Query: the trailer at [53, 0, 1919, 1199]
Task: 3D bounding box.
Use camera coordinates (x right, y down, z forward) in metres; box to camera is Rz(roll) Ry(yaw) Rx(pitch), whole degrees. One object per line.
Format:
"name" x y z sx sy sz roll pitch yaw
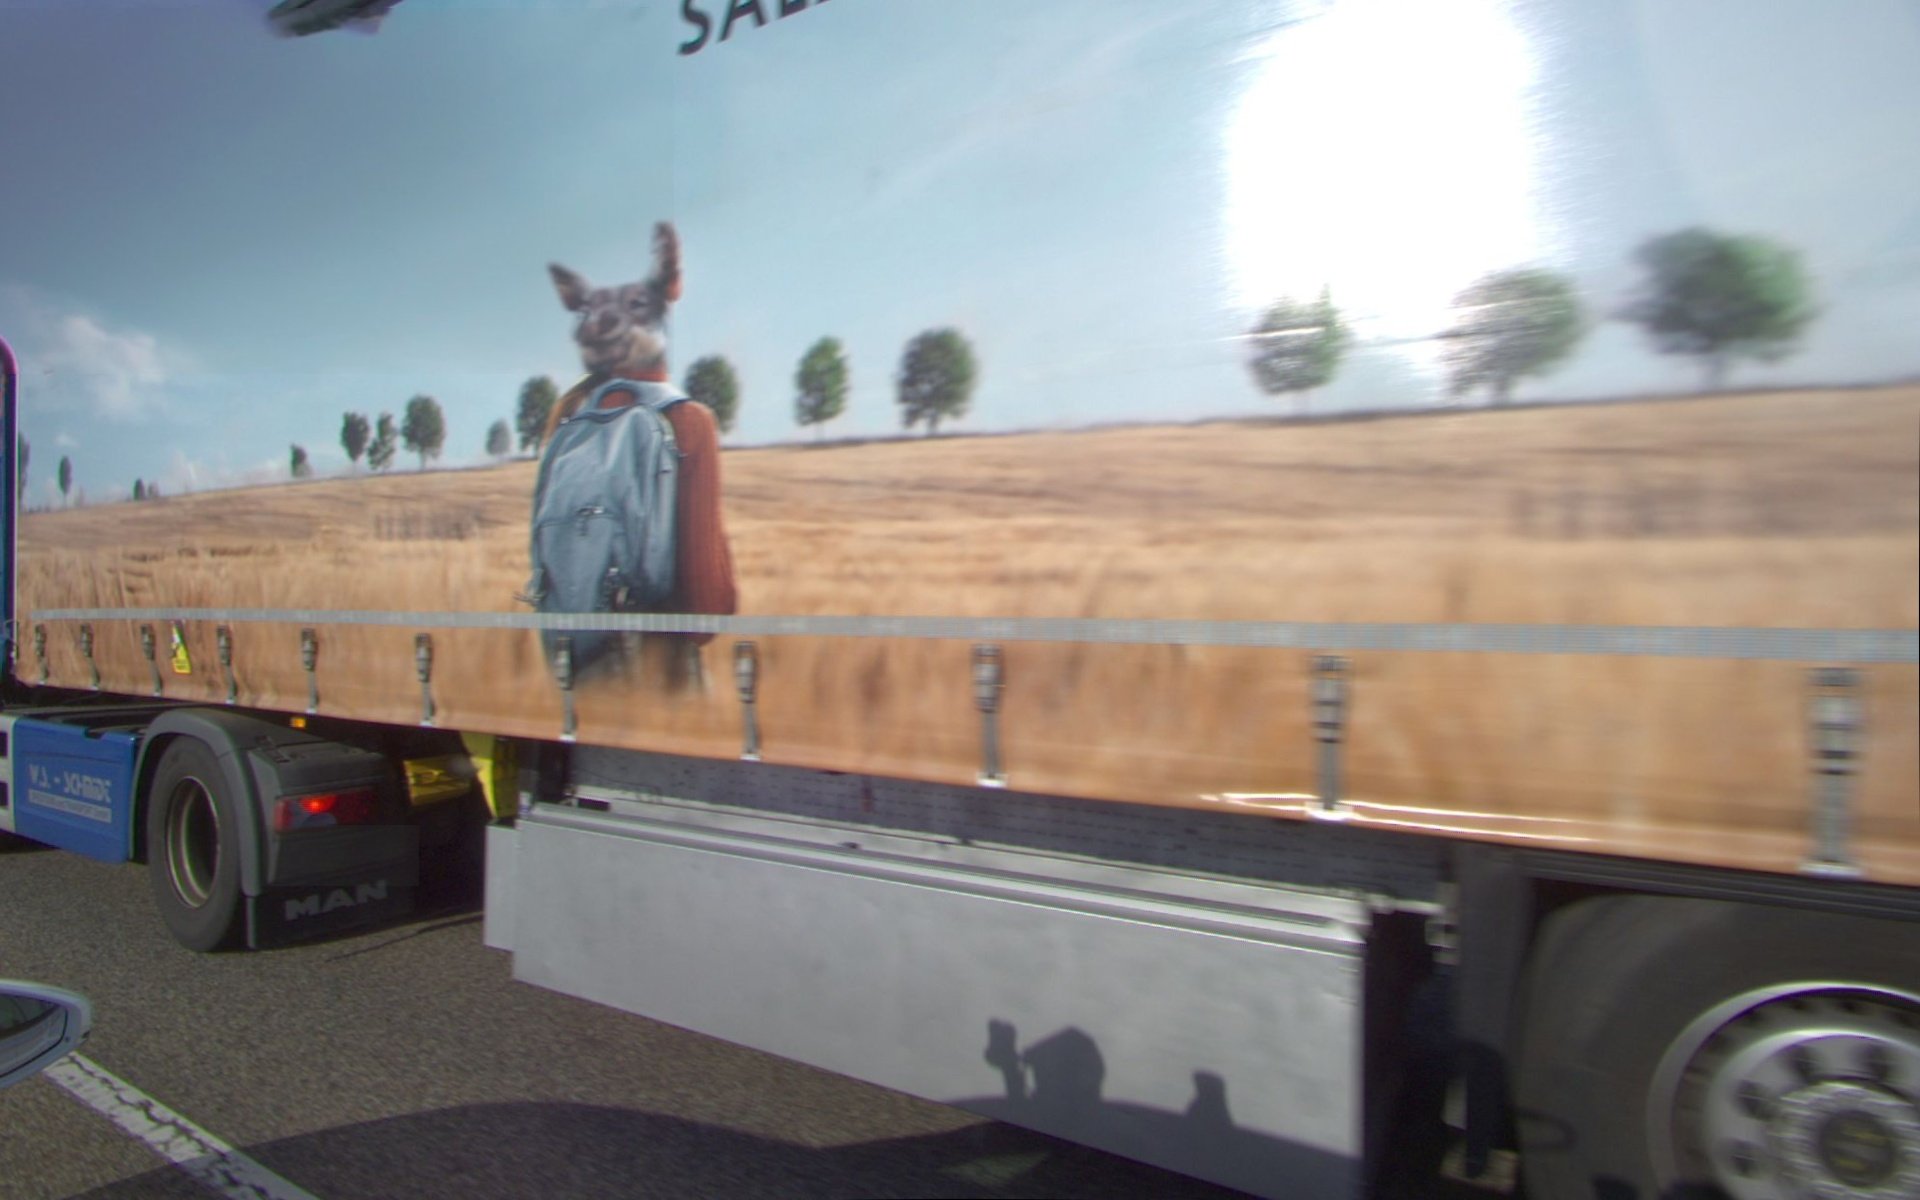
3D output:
"trailer" 2.029 -0.832 2.786 12.956 4.742 3.276 -1 -1 32

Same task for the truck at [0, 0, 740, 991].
"truck" -4.758 -0.720 6.941 5.649 4.718 3.295 0 -1 32

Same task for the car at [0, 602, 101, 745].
"car" -12.048 0.817 11.960 3.696 1.570 1.693 0 0 32
